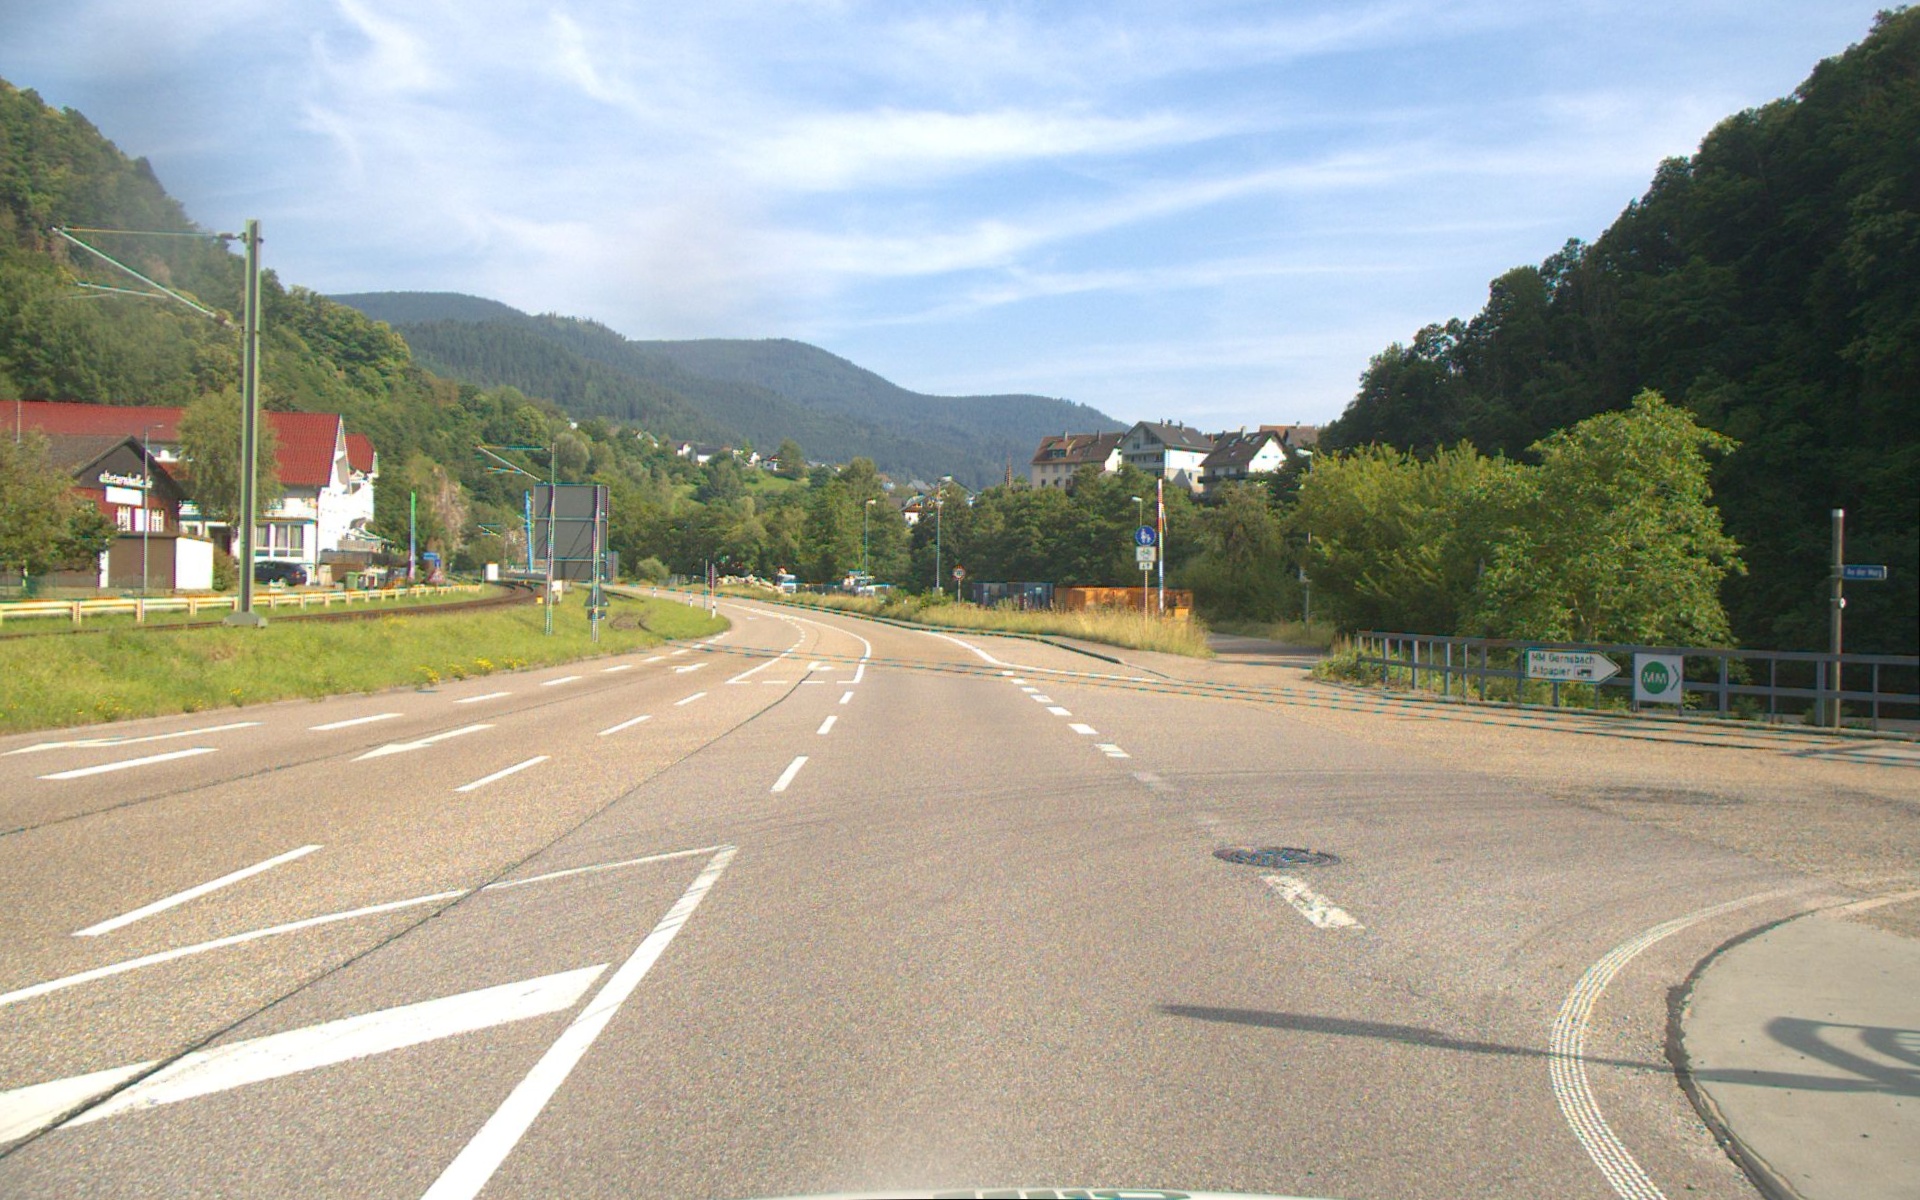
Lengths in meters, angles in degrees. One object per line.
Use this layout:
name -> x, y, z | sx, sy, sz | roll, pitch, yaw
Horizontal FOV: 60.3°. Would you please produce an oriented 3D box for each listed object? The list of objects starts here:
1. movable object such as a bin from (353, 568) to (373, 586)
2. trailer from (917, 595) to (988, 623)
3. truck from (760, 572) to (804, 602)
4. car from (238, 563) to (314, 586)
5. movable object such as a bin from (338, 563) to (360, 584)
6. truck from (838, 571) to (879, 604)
movable object such as a bin -> -39.718, -1.534, 110.104 | 1.071, 1.212, 1.139 | 1, 0, -13
trailer -> -0.576, 0.545, 108.070 | 2.742, 1.500, 9.860 | 3, 0, -11
truck -> -23.732, -1.799, 220.413 | 3.065, 3.848, 8.573 | 2, 0, -26
car -> -42.000, -1.562, 101.632 | 4.021, 1.293, 1.732 | 1, 1, -11
movable object such as a bin -> -36.190, -1.546, 97.990 | 1.122, 1.212, 1.088 | 1, 0, -18
truck -> -12.592, -1.608, 204.270 | 3.054, 3.848, 8.603 | 2, 0, -17
